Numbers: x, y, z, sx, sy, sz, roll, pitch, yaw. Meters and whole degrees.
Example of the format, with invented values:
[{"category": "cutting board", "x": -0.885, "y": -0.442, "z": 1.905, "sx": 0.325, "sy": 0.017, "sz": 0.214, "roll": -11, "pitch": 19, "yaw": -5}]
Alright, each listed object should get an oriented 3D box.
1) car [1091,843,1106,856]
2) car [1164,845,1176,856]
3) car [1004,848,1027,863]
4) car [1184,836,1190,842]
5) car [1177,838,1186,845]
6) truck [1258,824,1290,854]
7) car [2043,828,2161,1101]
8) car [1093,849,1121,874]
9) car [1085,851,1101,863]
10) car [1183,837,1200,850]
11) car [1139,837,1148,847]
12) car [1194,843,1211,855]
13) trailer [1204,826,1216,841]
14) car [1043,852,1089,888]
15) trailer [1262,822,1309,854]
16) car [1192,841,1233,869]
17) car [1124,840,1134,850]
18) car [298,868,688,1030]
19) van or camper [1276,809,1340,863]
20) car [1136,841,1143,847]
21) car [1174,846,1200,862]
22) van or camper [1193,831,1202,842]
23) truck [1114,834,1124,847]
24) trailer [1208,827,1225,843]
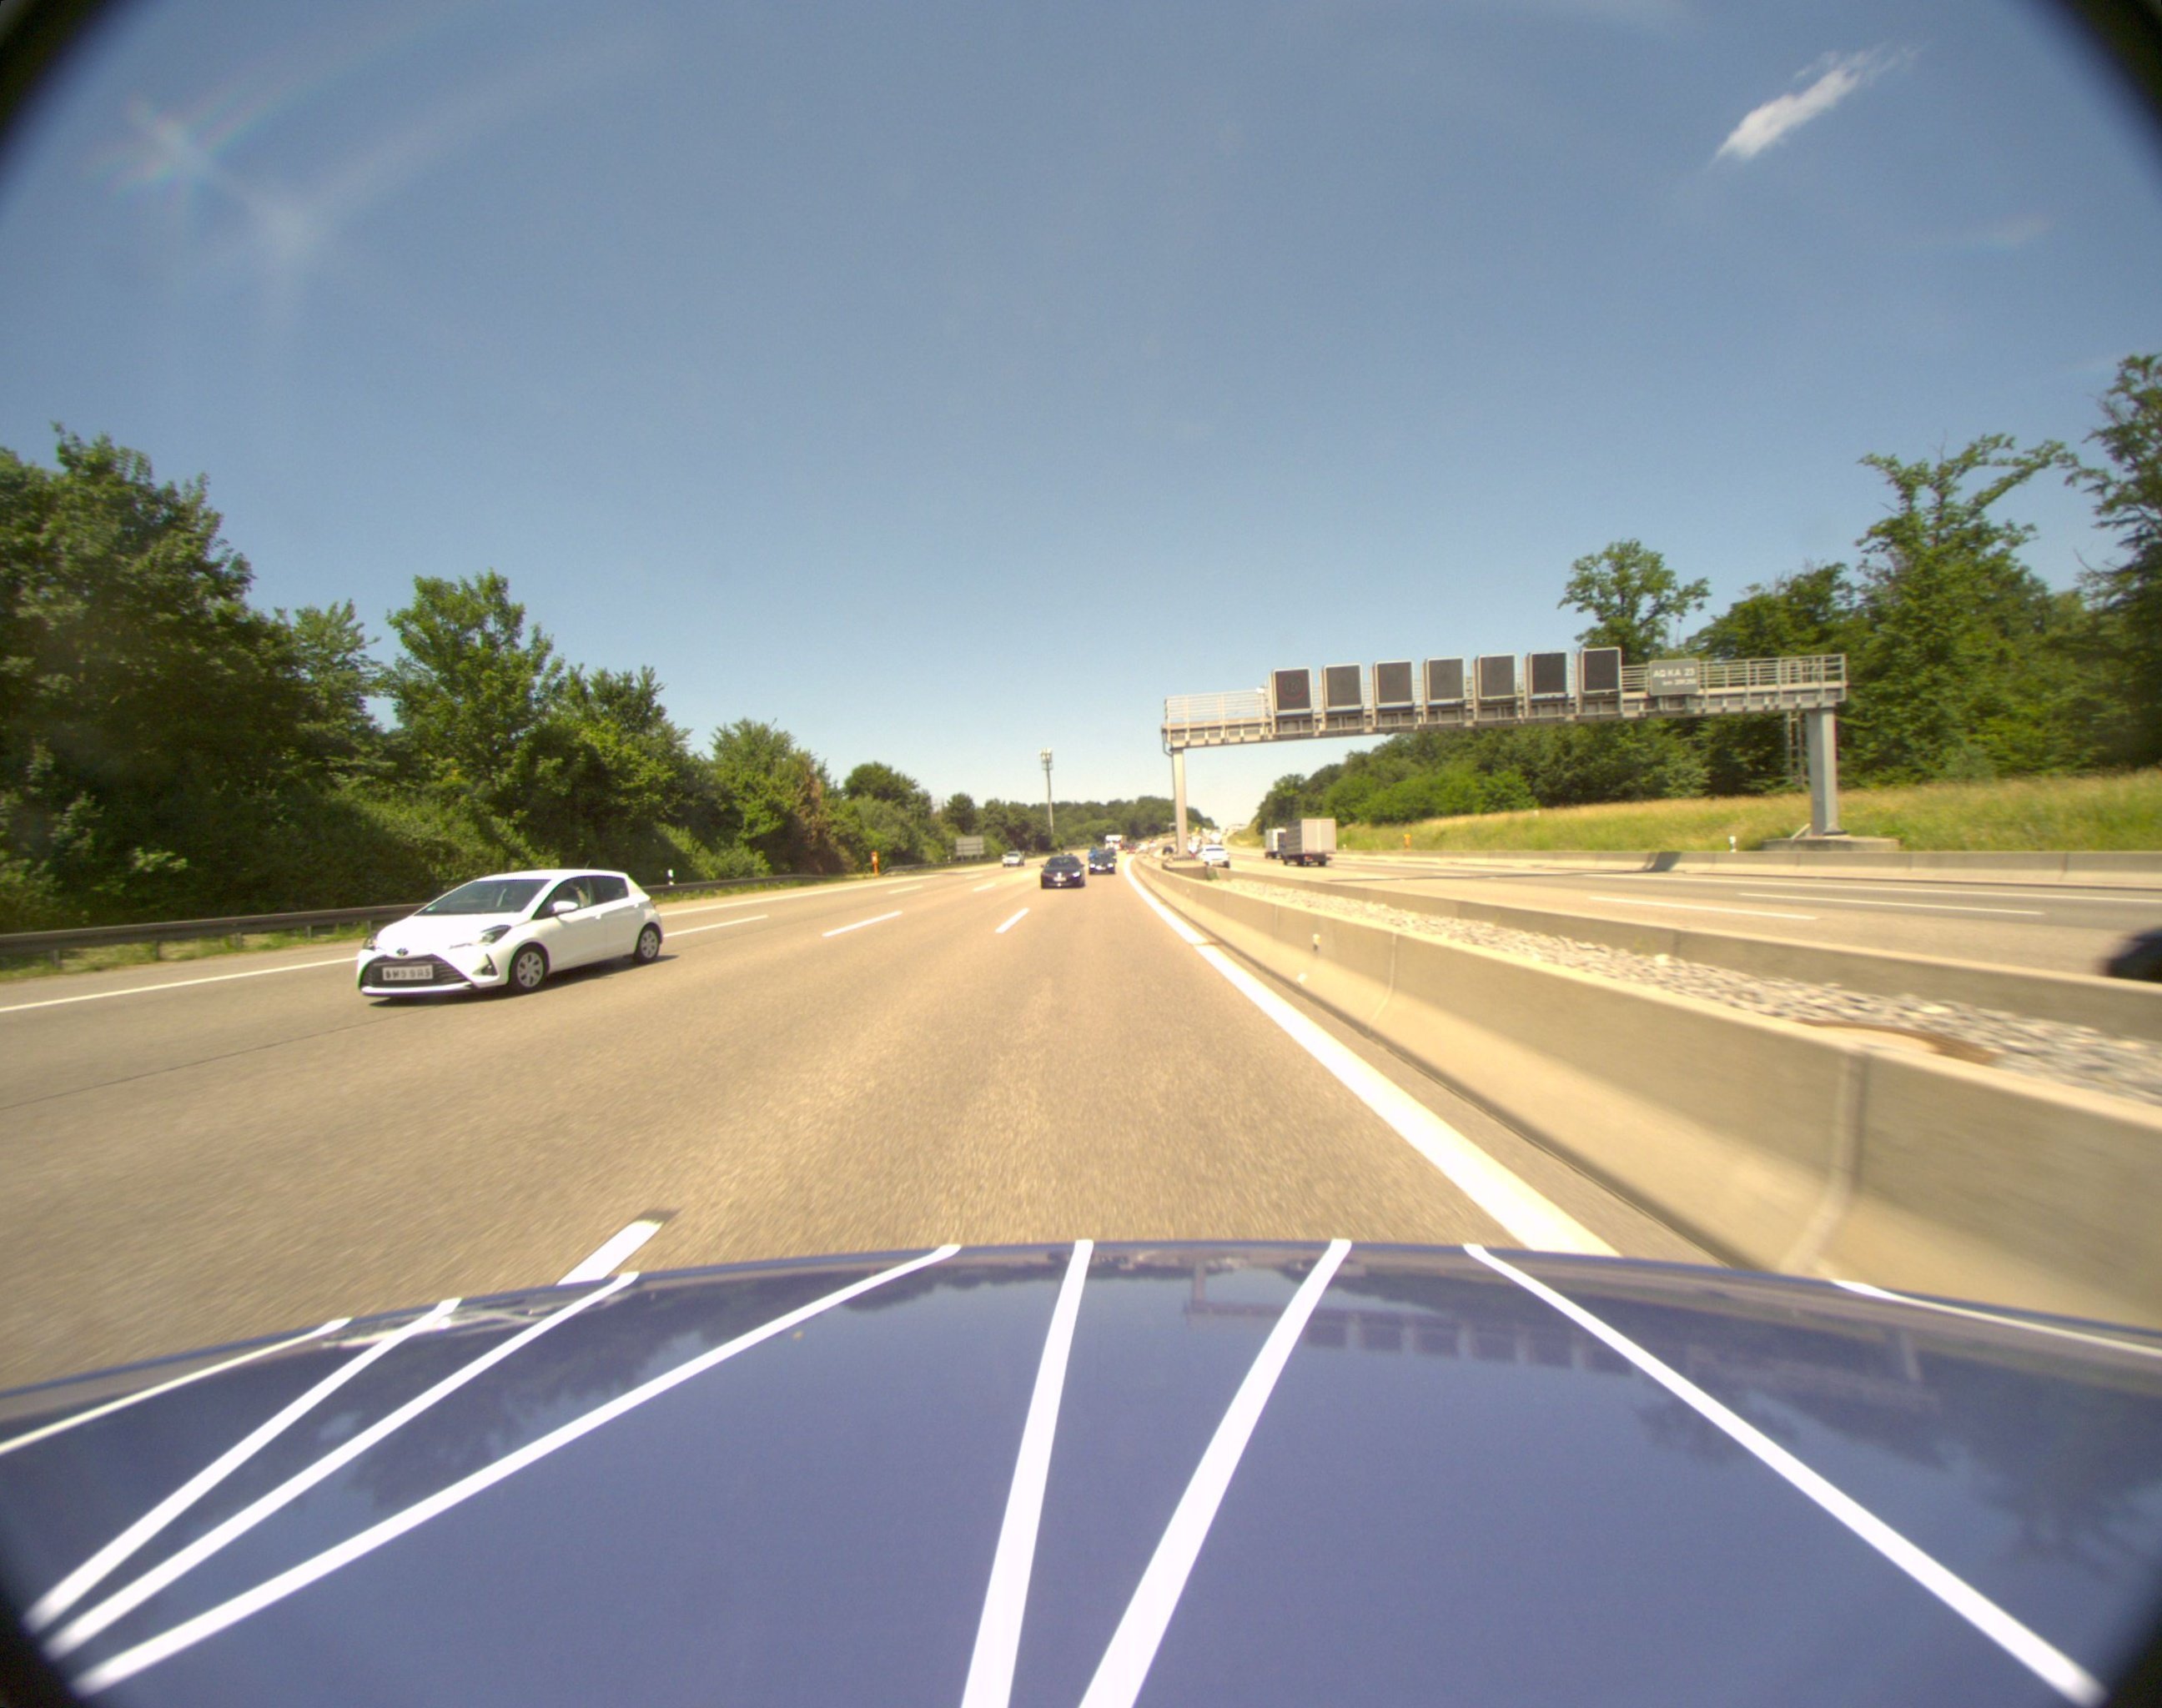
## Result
[{"category": "car", "x": 3.054, "y": -0.789, "z": 132.258, "sx": 1.997, "sy": 2.002, "sz": 4.001, "roll": -2, "pitch": 2, "yaw": 8}, {"category": "car", "x": 15.329, "y": -0.624, "z": 130.666, "sx": 1.830, "sy": 1.652, "sz": 4.916, "roll": -3, "pitch": 2, "yaw": 4}, {"category": "car", "x": -7.245, "y": 0.149, "z": 84.414, "sx": 1.998, "sy": 1.521, "sz": 4.000, "roll": -2, "pitch": 1, "yaw": 3}, {"category": "car", "x": 36.418, "y": -5.235, "z": 261.271, "sx": 2.007, "sy": 2.002, "sz": 5.186, "roll": -2, "pitch": 1, "yaw": 7}, {"category": "car", "x": 23.025, "y": -2.829, "z": 173.433, "sx": 1.679, "sy": 1.518, "sz": 4.611, "roll": -3, "pitch": 2, "yaw": 4}, {"category": "truck", "x": 22.017, "y": -1.727, "z": 86.991, "sx": 2.494, "sy": 3.149, "sz": 4.401, "roll": -3, "pitch": 1, "yaw": 2}, {"category": "car", "x": 7.195, "y": 0.638, "z": 2.511, "sx": 1.998, "sy": 1.581, "sz": 4.844, "roll": -2, "pitch": 1, "yaw": 2}, {"category": "car", "x": 1.788, "y": 0.504, "z": 51.440, "sx": 1.769, "sy": 1.495, "sz": 4.001, "roll": -3, "pitch": -1, "yaw": 3}, {"category": "car", "x": 1.751, "y": 0.443, "z": 109.622, "sx": 1.998, "sy": 1.521, "sz": 4.234, "roll": -3, "pitch": 2, "yaw": 6}, {"category": "car", "x": 18.770, "y": -1.855, "z": 129.478, "sx": 2.200, "sy": 2.043, "sz": 7.140, "roll": -2, "pitch": 1, "yaw": 2}, {"category": "car", "x": 16.844, "y": -3.234, "z": 203.736, "sx": 2.233, "sy": 2.372, "sz": 4.162, "roll": -3, "pitch": 2, "yaw": 4}, {"category": "car", "x": 15.715, "y": -0.623, "z": 98.433, "sx": 1.704, "sy": 1.394, "sz": 4.351, "roll": -3, "pitch": 2, "yaw": 5}, {"category": "trailer", "x": 39.573, "y": -6.234, "z": 232.581, "sx": 3.036, "sy": 4.336, "sz": 14.283, "roll": -2, "pitch": 2, "yaw": 11}, {"category": "car", "x": -0.613, "y": 0.684, "z": 34.469, "sx": 1.760, "sy": 1.431, "sz": 4.000, "roll": -2, "pitch": 1, "yaw": 3}, {"category": "trailer", "x": 21.826, "y": -1.729, "z": 81.726, "sx": 2.481, "sy": 3.136, "sz": 10.478, "roll": -3, "pitch": 2, "yaw": 2}, {"category": "car", "x": 9.054, "y": 0.013, "z": 52.763, "sx": 1.993, "sy": 1.727, "sz": 5.345, "roll": -3, "pitch": 1, "yaw": 2}, {"category": "car", "x": 10.171, "y": -1.979, "z": 161.435, "sx": 1.998, "sy": 2.002, "sz": 4.001, "roll": -3, "pitch": 0, "yaw": 3}, {"category": "car", "x": -7.525, "y": 1.077, "z": 10.474, "sx": 1.754, "sy": 1.510, "sz": 4.483, "roll": -2, "pitch": 1, "yaw": 1}, {"category": "van or camper", "x": 16.556, "y": -1.285, "z": 55.946, "sx": 2.436, "sy": 3.657, "sz": 7.757, "roll": -2, "pitch": 1, "yaw": 1}, {"category": "car", "x": 18.637, "y": -3.189, "z": 242.612, "sx": 1.998, "sy": 2.002, "sz": 4.000, "roll": -3, "pitch": 2, "yaw": 4}, {"category": "car", "x": 10.519, "y": -0.052, "z": 75.925, "sx": 2.053, "sy": 1.434, "sz": 5.221, "roll": -2, "pitch": 1, "yaw": 2}, {"category": "van or camper", "x": 35.400, "y": -5.318, "z": 230.553, "sx": 2.563, "sy": 2.914, "sz": 7.352, "roll": -1, "pitch": 2, "yaw": 9}, {"category": "truck", "x": 10.677, "y": -3.765, "z": 211.292, "sx": 2.434, "sy": 3.458, "sz": 7.022, "roll": -3, "pitch": 2, "yaw": 4}, {"category": "trailer", "x": 31.575, "y": -4.506, "z": 177.785, "sx": 2.657, "sy": 3.515, "sz": 10.494, "roll": -3, "pitch": 2, "yaw": 4}]
